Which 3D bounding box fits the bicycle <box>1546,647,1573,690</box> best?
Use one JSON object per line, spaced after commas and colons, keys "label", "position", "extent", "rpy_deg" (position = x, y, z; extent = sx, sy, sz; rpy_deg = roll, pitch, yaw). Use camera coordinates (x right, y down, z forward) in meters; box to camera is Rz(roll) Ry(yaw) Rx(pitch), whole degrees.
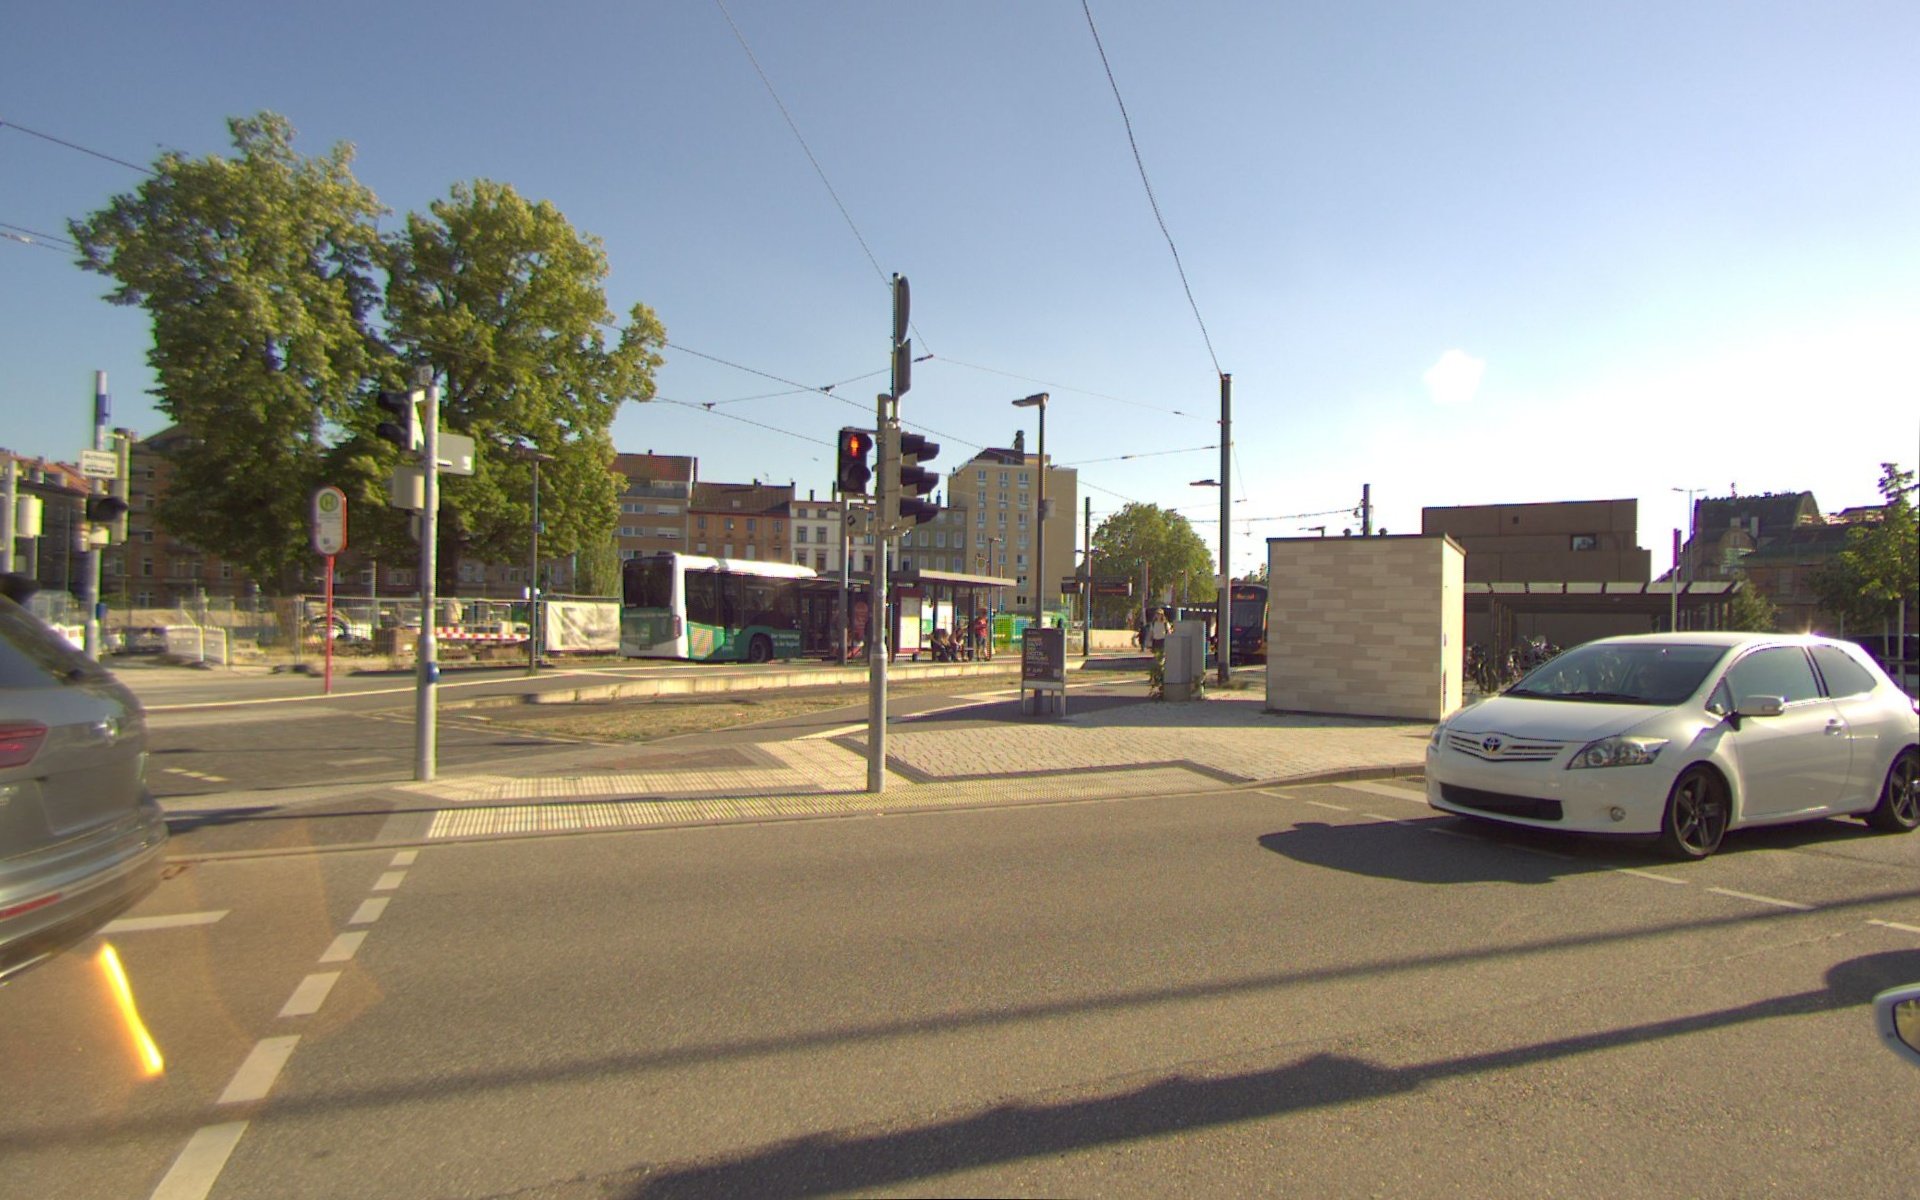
{"label": "bicycle", "position": [16.908, 1.912, 28.331], "extent": [0.598, 1.129, 1.893], "rpy_deg": [2, 0, 30]}

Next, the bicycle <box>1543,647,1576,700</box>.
{"label": "bicycle", "position": [13.879, 1.675, 23.273], "extent": [0.598, 1.129, 1.893], "rpy_deg": [2, 0, 30]}

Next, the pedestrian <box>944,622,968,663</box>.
{"label": "pedestrian", "position": [-0.116, 1.410, 33.565], "extent": [0.561, 1.363, 0.639], "rpy_deg": [0, -1, 26]}

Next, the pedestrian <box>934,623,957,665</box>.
{"label": "pedestrian", "position": [-0.464, 1.444, 32.958], "extent": [0.606, 1.358, 0.440], "rpy_deg": [0, -1, 26]}

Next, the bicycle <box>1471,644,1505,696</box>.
{"label": "bicycle", "position": [12.624, 1.648, 24.002], "extent": [0.598, 1.129, 1.893], "rpy_deg": [2, 0, 30]}

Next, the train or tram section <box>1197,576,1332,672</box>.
{"label": "train or tram section", "position": [13.861, 1.082, 44.726], "extent": [2.839, 3.644, 12.175], "rpy_deg": [2, 0, 31]}

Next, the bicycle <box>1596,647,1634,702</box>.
{"label": "bicycle", "position": [14.743, 1.649, 22.643], "extent": [0.598, 1.129, 1.893], "rpy_deg": [2, 0, 30]}

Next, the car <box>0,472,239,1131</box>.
{"label": "car", "position": [-4.823, 0.508, 2.596], "extent": [4.466, 1.728, 1.758], "rpy_deg": [2, -3, -24]}

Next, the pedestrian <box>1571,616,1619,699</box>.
{"label": "pedestrian", "position": [15.155, 1.358, 23.983], "extent": [0.888, 1.893, 0.686], "rpy_deg": [2, 0, 31]}

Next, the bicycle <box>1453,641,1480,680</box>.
{"label": "bicycle", "position": [15.860, 1.865, 31.420], "extent": [0.598, 1.129, 1.893], "rpy_deg": [2, 0, 30]}

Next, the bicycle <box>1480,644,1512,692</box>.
{"label": "bicycle", "position": [13.755, 1.714, 25.751], "extent": [0.598, 1.129, 1.893], "rpy_deg": [2, 0, 30]}

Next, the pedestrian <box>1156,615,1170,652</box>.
{"label": "pedestrian", "position": [9.812, 1.634, 48.587], "extent": [0.627, 1.772, 0.572], "rpy_deg": [0, -1, 16]}

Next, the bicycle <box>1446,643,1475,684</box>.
{"label": "bicycle", "position": [14.788, 1.852, 29.679], "extent": [0.598, 1.129, 1.893], "rpy_deg": [2, 0, 30]}

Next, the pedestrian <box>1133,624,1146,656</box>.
{"label": "pedestrian", "position": [10.021, 2.235, 55.980], "extent": [0.561, 1.772, 0.639], "rpy_deg": [0, -1, 24]}

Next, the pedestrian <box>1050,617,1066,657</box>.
{"label": "pedestrian", "position": [4.396, 1.646, 45.065], "extent": [0.627, 1.772, 0.572], "rpy_deg": [0, -1, 16]}

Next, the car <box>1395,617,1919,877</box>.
{"label": "car", "position": [5.456, 0.959, 7.705], "extent": [3.924, 1.581, 1.690], "rpy_deg": [1, -2, -24]}

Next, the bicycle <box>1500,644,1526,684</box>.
{"label": "bicycle", "position": [16.959, 1.933, 30.771], "extent": [0.598, 1.129, 1.893], "rpy_deg": [2, 0, 30]}

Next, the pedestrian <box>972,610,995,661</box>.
{"label": "pedestrian", "position": [0.819, 1.243, 35.242], "extent": [0.561, 1.772, 0.639], "rpy_deg": [0, -1, 26]}

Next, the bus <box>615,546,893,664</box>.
{"label": "bus", "position": [-6.114, 0.235, 32.000], "extent": [2.617, 3.177, 9.619], "rpy_deg": [2, 0, 33]}

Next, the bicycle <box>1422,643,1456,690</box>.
{"label": "bicycle", "position": [12.486, 1.709, 26.154], "extent": [0.598, 1.129, 1.893], "rpy_deg": [2, 0, 30]}

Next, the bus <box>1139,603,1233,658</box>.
{"label": "bus", "position": [15.833, 2.089, 69.263], "extent": [2.680, 3.317, 13.446], "rpy_deg": [2, 0, 28]}

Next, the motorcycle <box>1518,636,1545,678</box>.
{"label": "motorcycle", "position": [20.142, 1.978, 35.398], "extent": [0.754, 1.408, 1.893], "rpy_deg": [2, 0, 29]}

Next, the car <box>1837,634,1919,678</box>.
{"label": "car", "position": [43.130, 2.507, 45.468], "extent": [2.203, 1.919, 5.168], "rpy_deg": [1, -2, -3]}

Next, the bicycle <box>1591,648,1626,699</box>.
{"label": "bicycle", "position": [15.721, 1.764, 24.362], "extent": [0.598, 1.129, 1.893], "rpy_deg": [2, 0, 30]}

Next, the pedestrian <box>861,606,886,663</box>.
{"label": "pedestrian", "position": [-2.757, 1.097, 31.957], "extent": [0.531, 1.772, 0.557], "rpy_deg": [0, -2, 38]}

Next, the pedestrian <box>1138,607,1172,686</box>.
{"label": "pedestrian", "position": [4.475, 1.052, 23.012], "extent": [0.628, 1.772, 0.572], "rpy_deg": [0, -1, 25]}

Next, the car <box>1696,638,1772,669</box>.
{"label": "car", "position": [42.761, 2.926, 55.562], "extent": [1.612, 1.581, 3.602], "rpy_deg": [1, -1, 4]}

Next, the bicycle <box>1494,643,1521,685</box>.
{"label": "bicycle", "position": [15.829, 1.820, 29.020], "extent": [0.598, 1.129, 1.893], "rpy_deg": [2, 0, 30]}
